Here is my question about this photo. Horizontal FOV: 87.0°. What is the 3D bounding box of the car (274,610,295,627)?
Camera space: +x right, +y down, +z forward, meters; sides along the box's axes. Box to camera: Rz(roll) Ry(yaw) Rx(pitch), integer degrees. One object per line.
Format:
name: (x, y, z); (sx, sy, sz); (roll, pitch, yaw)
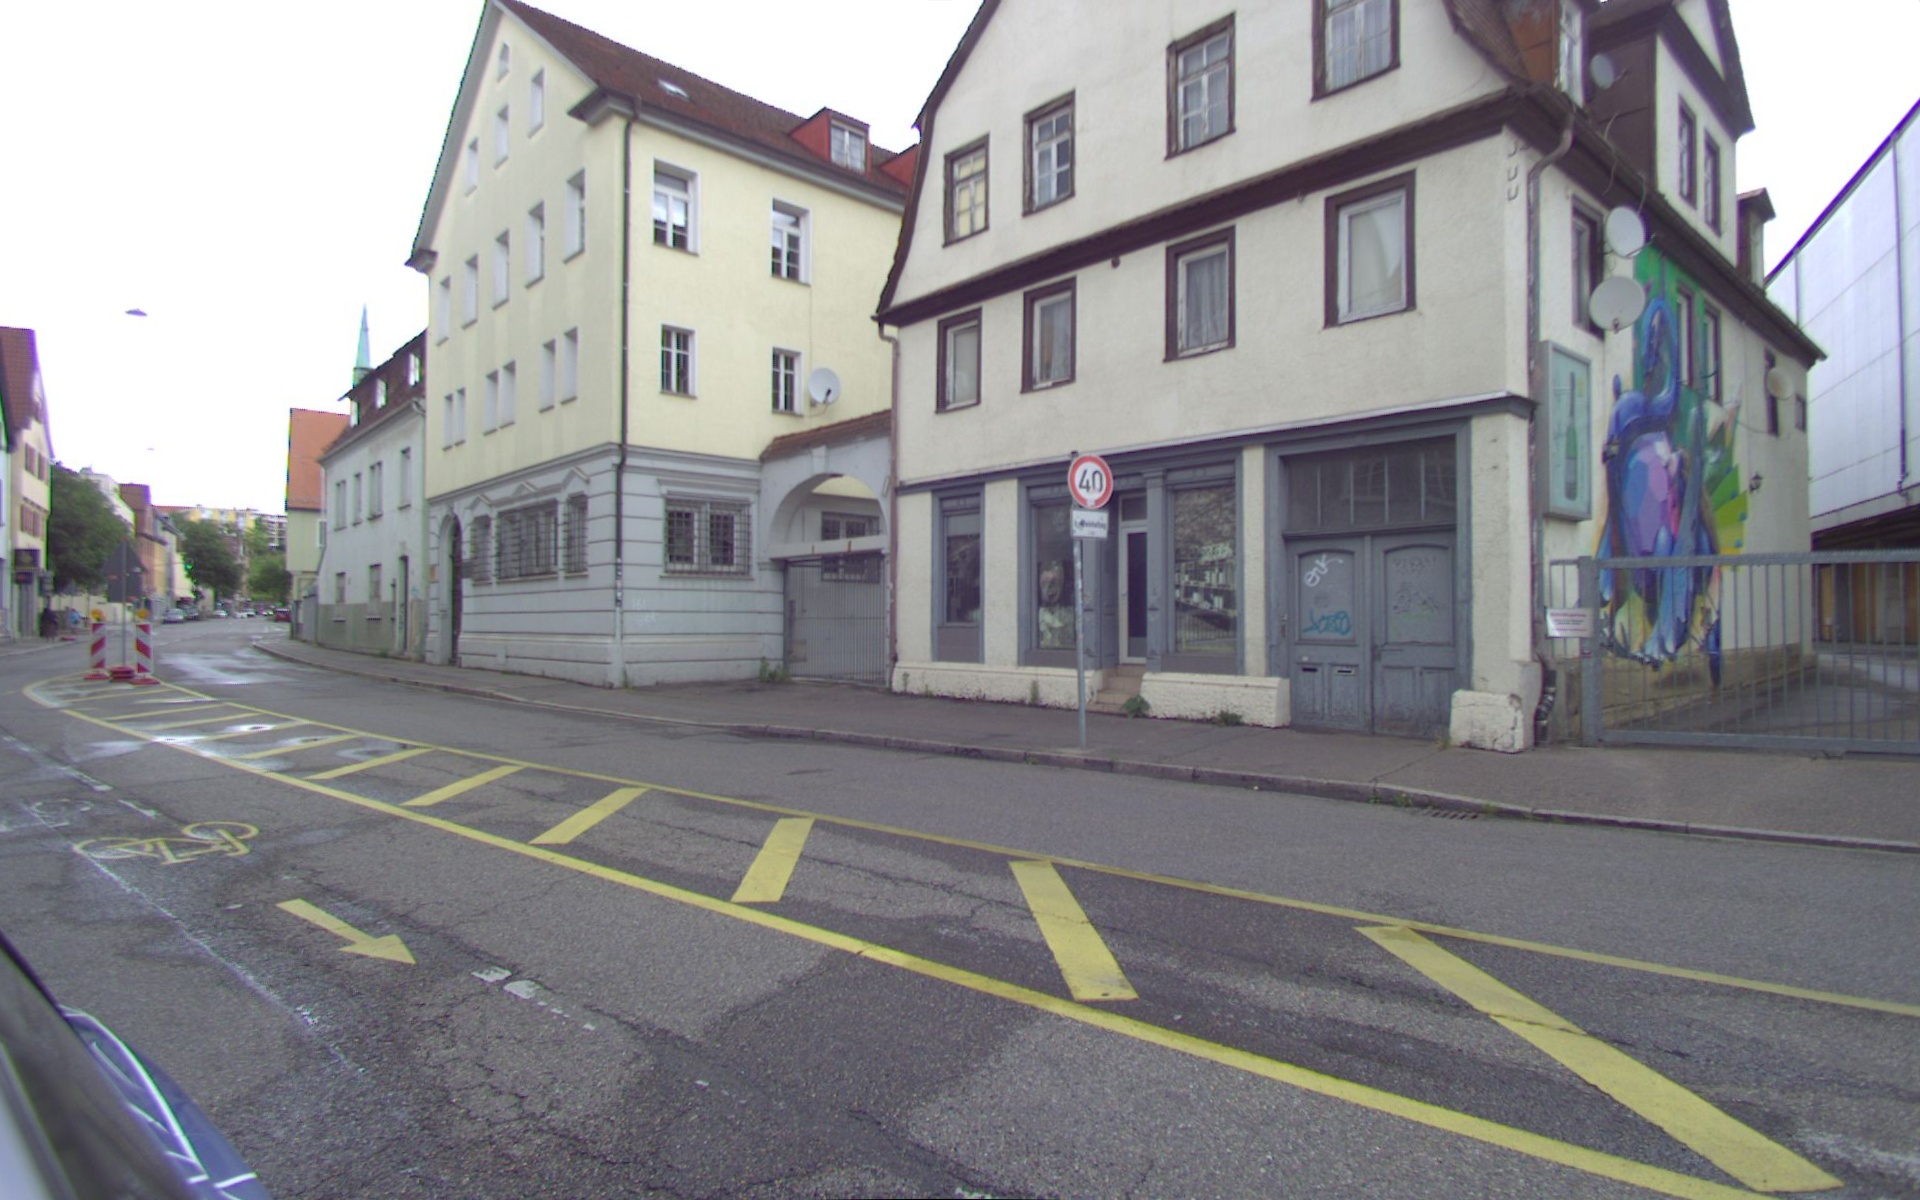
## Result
car: (-85.663, 2.330, 128.356); (2.027, 2.029, 4.009); (1, -2, -37)

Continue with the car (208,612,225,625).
car: (-114.769, 2.861, 156.219); (1.967, 2.029, 4.009); (1, -2, -37)

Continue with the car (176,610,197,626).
car: (-96.936, 2.249, 126.834); (1.967, 2.029, 4.009); (1, -2, -37)

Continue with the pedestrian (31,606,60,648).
pedestrian: (-42.174, 1.255, 46.689); (0.864, 1.914, 0.899); (1, -2, -36)

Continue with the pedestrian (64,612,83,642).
pedestrian: (-54.984, 1.680, 62.771); (0.653, 1.808, 0.559); (-1, -2, 12)

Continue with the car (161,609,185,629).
car: (-84.791, 2.059, 109.041); (1.967, 2.029, 4.009); (1, -2, -37)

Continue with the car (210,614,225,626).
car: (-123.515, 3.324, 168.291); (1.967, 2.029, 4.009); (1, -2, -37)
